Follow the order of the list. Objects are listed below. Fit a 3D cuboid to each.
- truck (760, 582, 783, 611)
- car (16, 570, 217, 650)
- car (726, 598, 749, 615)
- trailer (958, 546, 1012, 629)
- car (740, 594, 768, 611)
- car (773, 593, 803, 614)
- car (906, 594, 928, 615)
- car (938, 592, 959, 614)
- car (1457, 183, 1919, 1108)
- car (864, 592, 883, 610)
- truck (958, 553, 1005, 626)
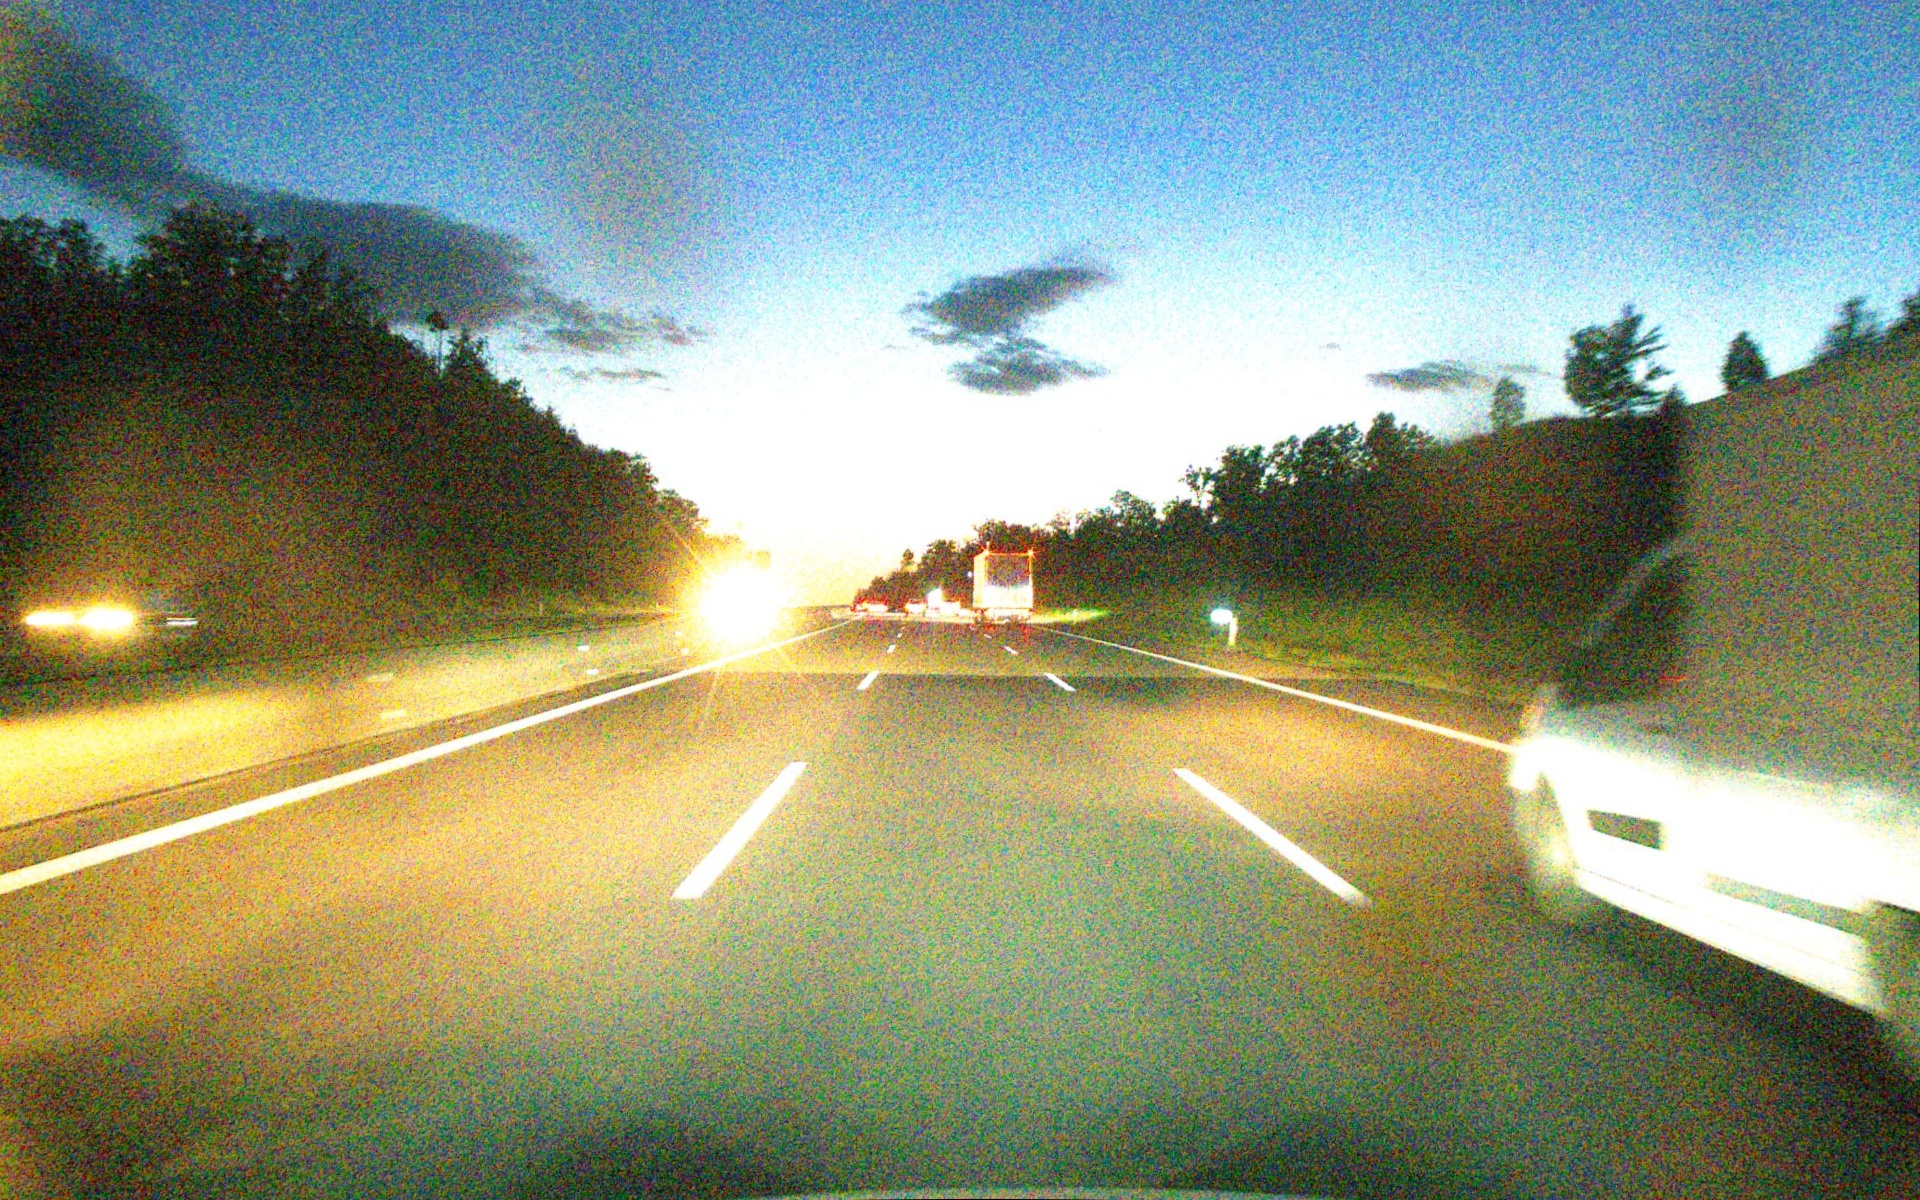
[{"bbox_3d":[-28.237,-0.471,248.105,2.803,4.143,10.628,1,0,-3],"label":"truck"},{"bbox_3d":[-19.203,0.202,37.957,2.199,1.697,4.886,1,0,-2],"label":"car"},{"bbox_3d":[-23.647,0.681,175.776,1.875,1.777,4.879,1,0,-2],"label":"car"},{"bbox_3d":[1.301,-0.637,96.092,2.771,4.331,17.047,1,0,0],"label":"trailer"},{"bbox_3d":[-19.536,0.234,156.941,2.199,1.625,4.885,1,0,-3],"label":"car"},{"bbox_3d":[-14.662,0.276,141.386,2.199,1.749,4.886,1,0,-2],"label":"car"},{"bbox_3d":[-3.967,0.462,151.324,1.953,1.825,3.998,1,-1,-2],"label":"car"},{"bbox_3d":[-1.186,0.339,166.696,1.953,2.154,3.998,1,-1,-2],"label":"car"},{"bbox_3d":[3.807,0.134,6.555,1.990,2.693,5.725,1,0,1],"label":"car"},{"bbox_3d":[-9.340,0.066,178.419,1.954,1.825,3.997,1,-1,-3],"label":"car"},{"bbox_3d":[1.288,-0.619,101.467,2.771,4.331,6.262,1,0,0],"label":"truck"}]
